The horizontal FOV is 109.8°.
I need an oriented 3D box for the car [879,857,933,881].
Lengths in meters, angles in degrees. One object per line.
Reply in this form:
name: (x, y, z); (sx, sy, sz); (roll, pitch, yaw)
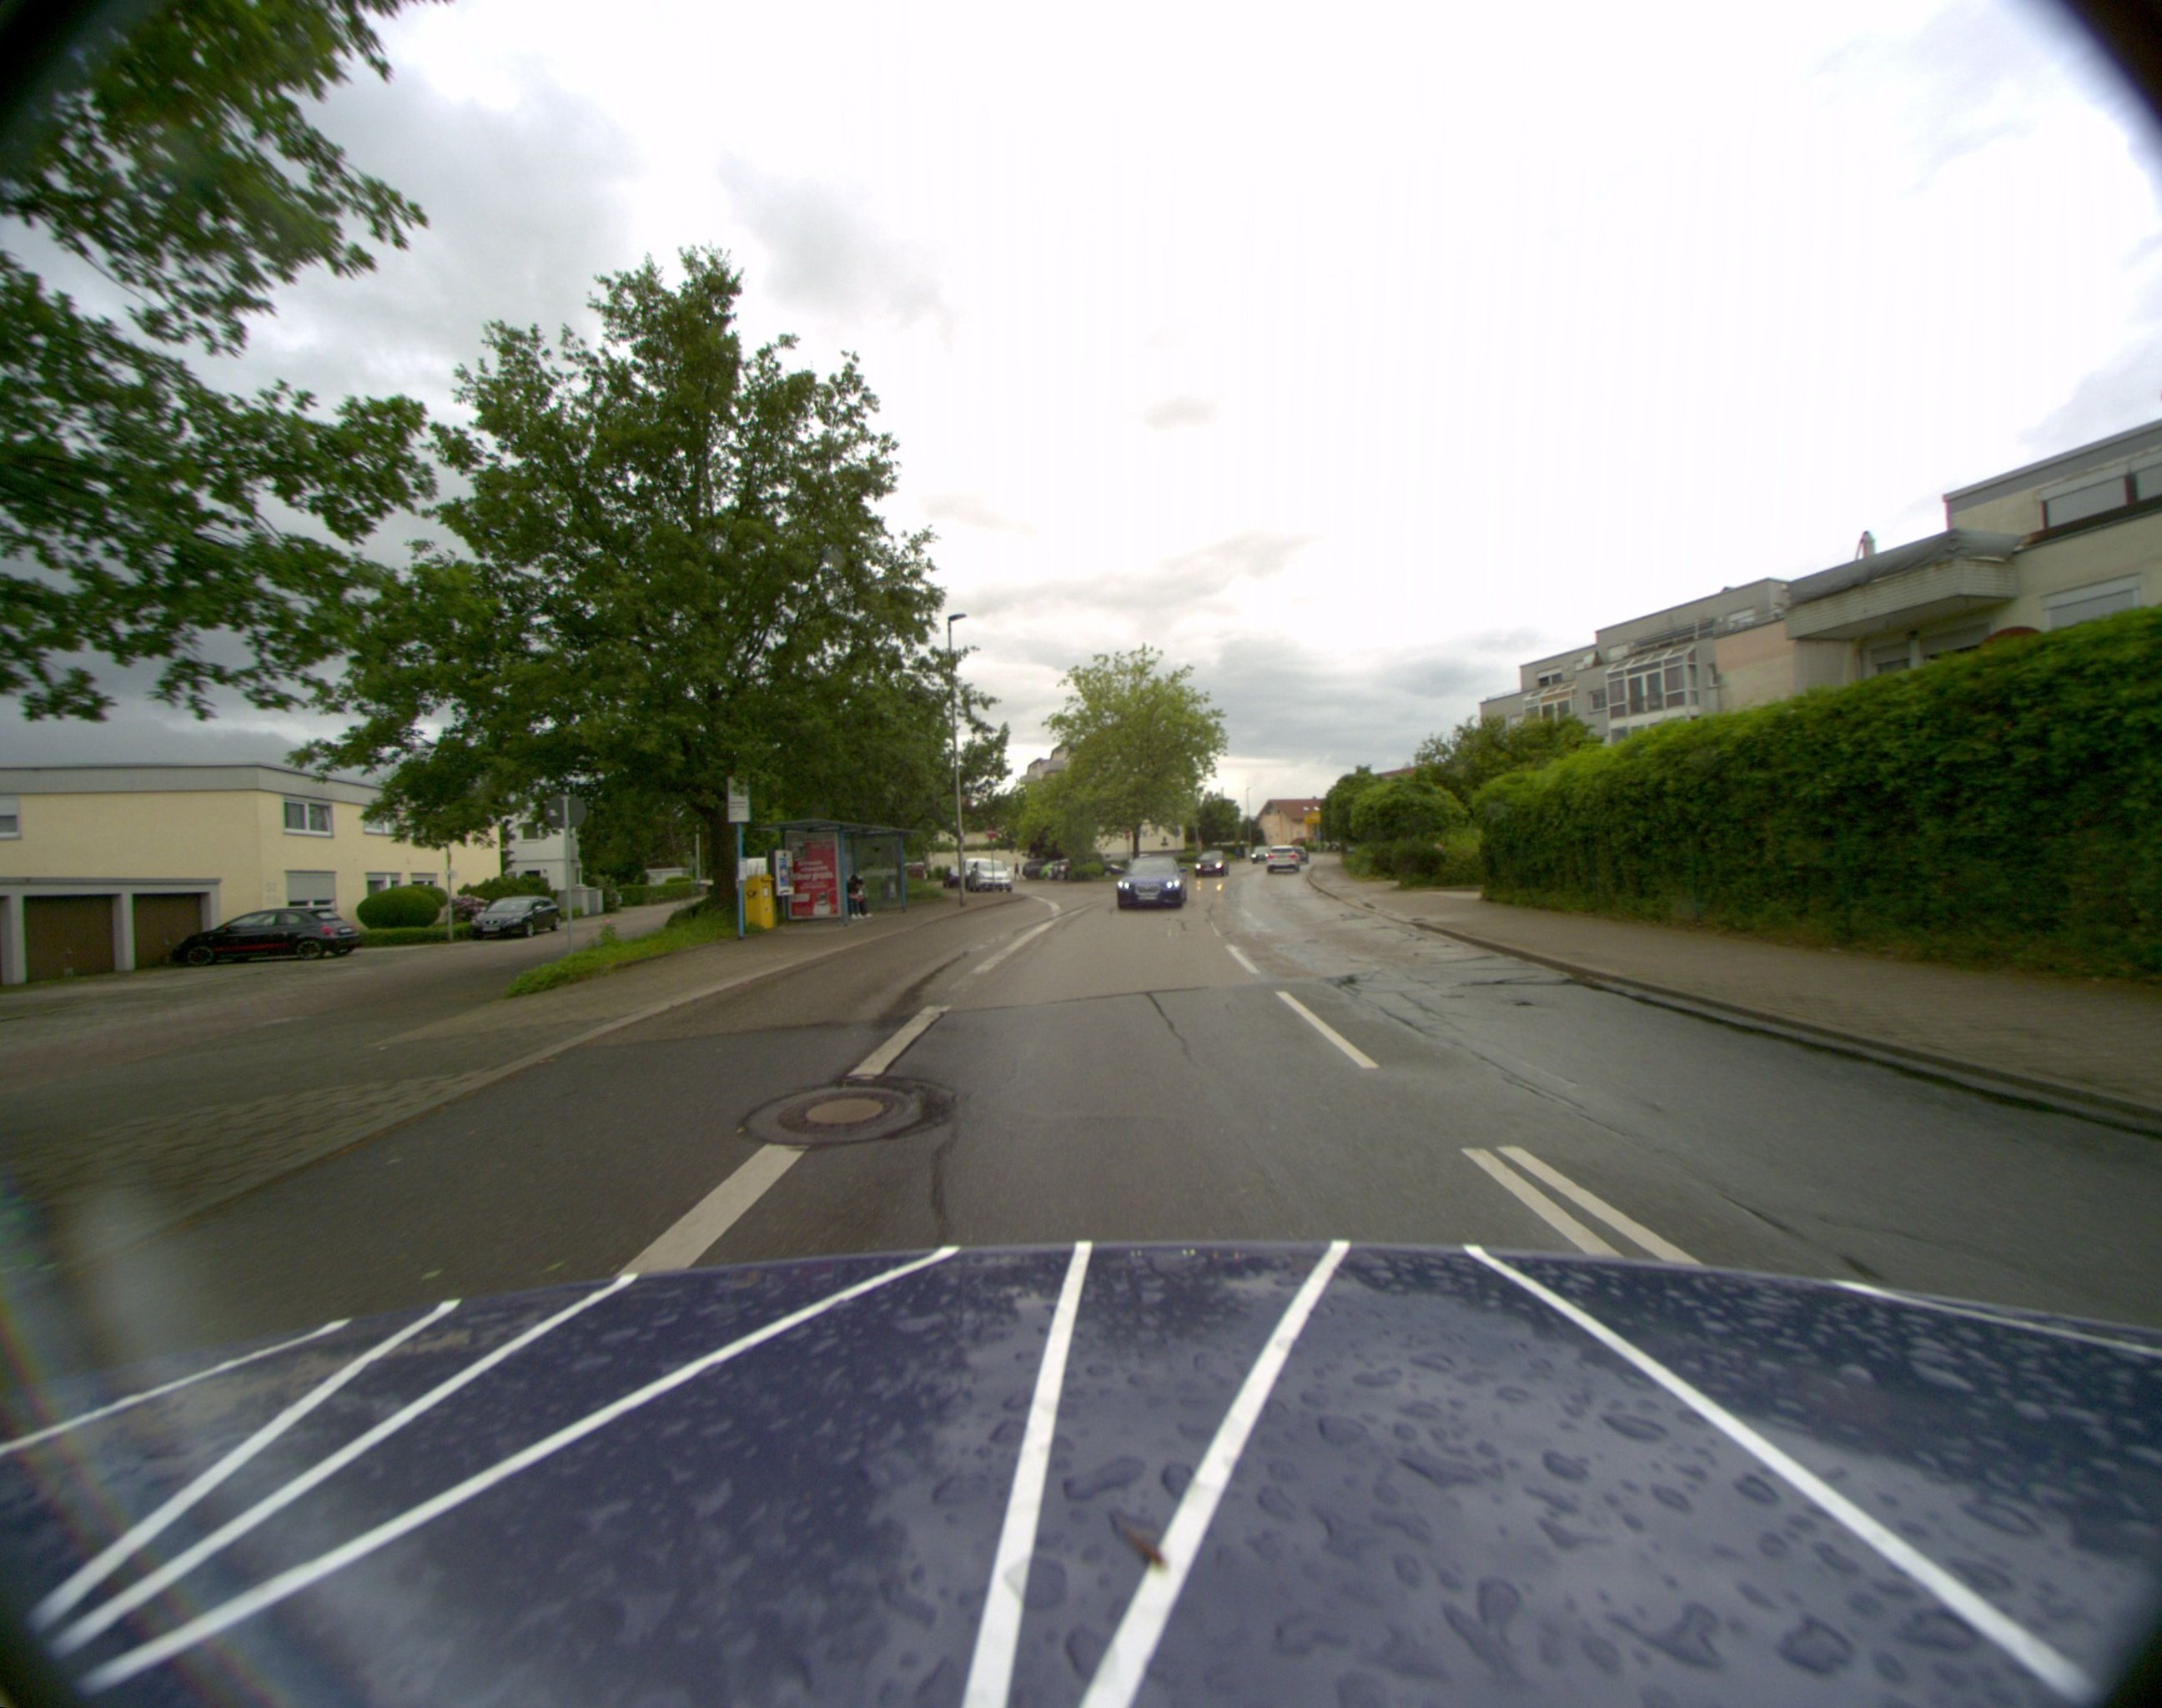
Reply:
car: (-17.229, 1.477, 74.975); (4.998, 2.002, 2.083); (-3, 0, -14)

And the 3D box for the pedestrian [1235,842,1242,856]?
pedestrian: (18.357, -0.562, 88.669); (0.591, 1.656, 0.775); (-4, 1, 2)

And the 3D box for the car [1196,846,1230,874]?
car: (7.923, 0.344, 45.474); (1.839, 1.440, 4.003); (-4, 0, 11)

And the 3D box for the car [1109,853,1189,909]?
car: (2.154, 0.739, 22.997); (1.911, 1.425, 4.304); (-2, 0, 11)

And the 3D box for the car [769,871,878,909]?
car: (-11.061, 1.535, 32.863); (4.039, 1.329, 1.734); (-4, 0, 1)

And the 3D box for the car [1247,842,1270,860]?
car: (17.819, -0.329, 76.089); (1.838, 1.541, 4.004); (-4, 0, 17)

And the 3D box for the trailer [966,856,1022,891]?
trailer: (-4.331, 0.913, 37.402); (2.001, 1.534, 4.420); (-3, 0, -15)

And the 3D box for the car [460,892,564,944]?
car: (-21.133, 2.328, 28.410); (1.693, 1.501, 3.822); (-4, 0, -15)

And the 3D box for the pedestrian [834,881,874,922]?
pedestrian: (-5.869, 1.222, 19.681); (0.750, 1.006, 0.552); (-3, 1, 10)

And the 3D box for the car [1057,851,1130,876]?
car: (0.857, 0.611, 51.126); (4.580, 1.434, 1.766); (-3, 1, 13)

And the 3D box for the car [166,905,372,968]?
car: (-23.145, 2.311, 21.849); (3.626, 1.523, 1.759); (-1, -1, -19)

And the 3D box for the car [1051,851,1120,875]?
car: (0.349, 0.652, 53.908); (4.580, 1.434, 1.766); (-3, 1, 13)

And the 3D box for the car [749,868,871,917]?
car: (-9.751, 1.367, 27.473); (3.653, 1.477, 1.761); (-4, 1, 8)

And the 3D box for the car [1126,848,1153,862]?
car: (6.588, 0.129, 85.810); (1.747, 1.472, 3.763); (-3, 0, -18)

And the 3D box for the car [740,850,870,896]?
car: (-14.028, 0.946, 38.749); (5.831, 2.002, 2.001); (-3, 1, 8)

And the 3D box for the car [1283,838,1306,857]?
car: (18.539, -0.581, 65.898); (1.743, 1.406, 4.147); (-3, 0, 18)

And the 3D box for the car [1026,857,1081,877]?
car: (-2.196, 1.025, 60.891); (4.016, 1.363, 1.766); (-3, 1, 13)

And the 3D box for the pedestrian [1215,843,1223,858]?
pedestrian: (17.106, -0.397, 94.180); (0.615, 1.762, 0.670); (-4, 1, -6)

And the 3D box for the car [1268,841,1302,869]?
car: (12.700, 0.038, 47.487); (1.893, 1.602, 4.870); (2, 2, 14)

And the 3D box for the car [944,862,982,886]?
car: (-7.580, 1.244, 48.458); (1.767, 1.374, 4.181); (-4, 0, -17)

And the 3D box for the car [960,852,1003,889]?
car: (-5.716, 0.904, 43.298); (2.000, 1.870, 4.208); (-4, 0, -12)

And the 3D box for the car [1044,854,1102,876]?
car: (-0.566, 0.846, 57.128); (4.016, 1.434, 1.766); (-3, 1, 13)

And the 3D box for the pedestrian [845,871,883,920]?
pedestrian: (-5.801, 1.109, 20.316); (0.728, 1.243, 0.552); (-3, 1, 10)
